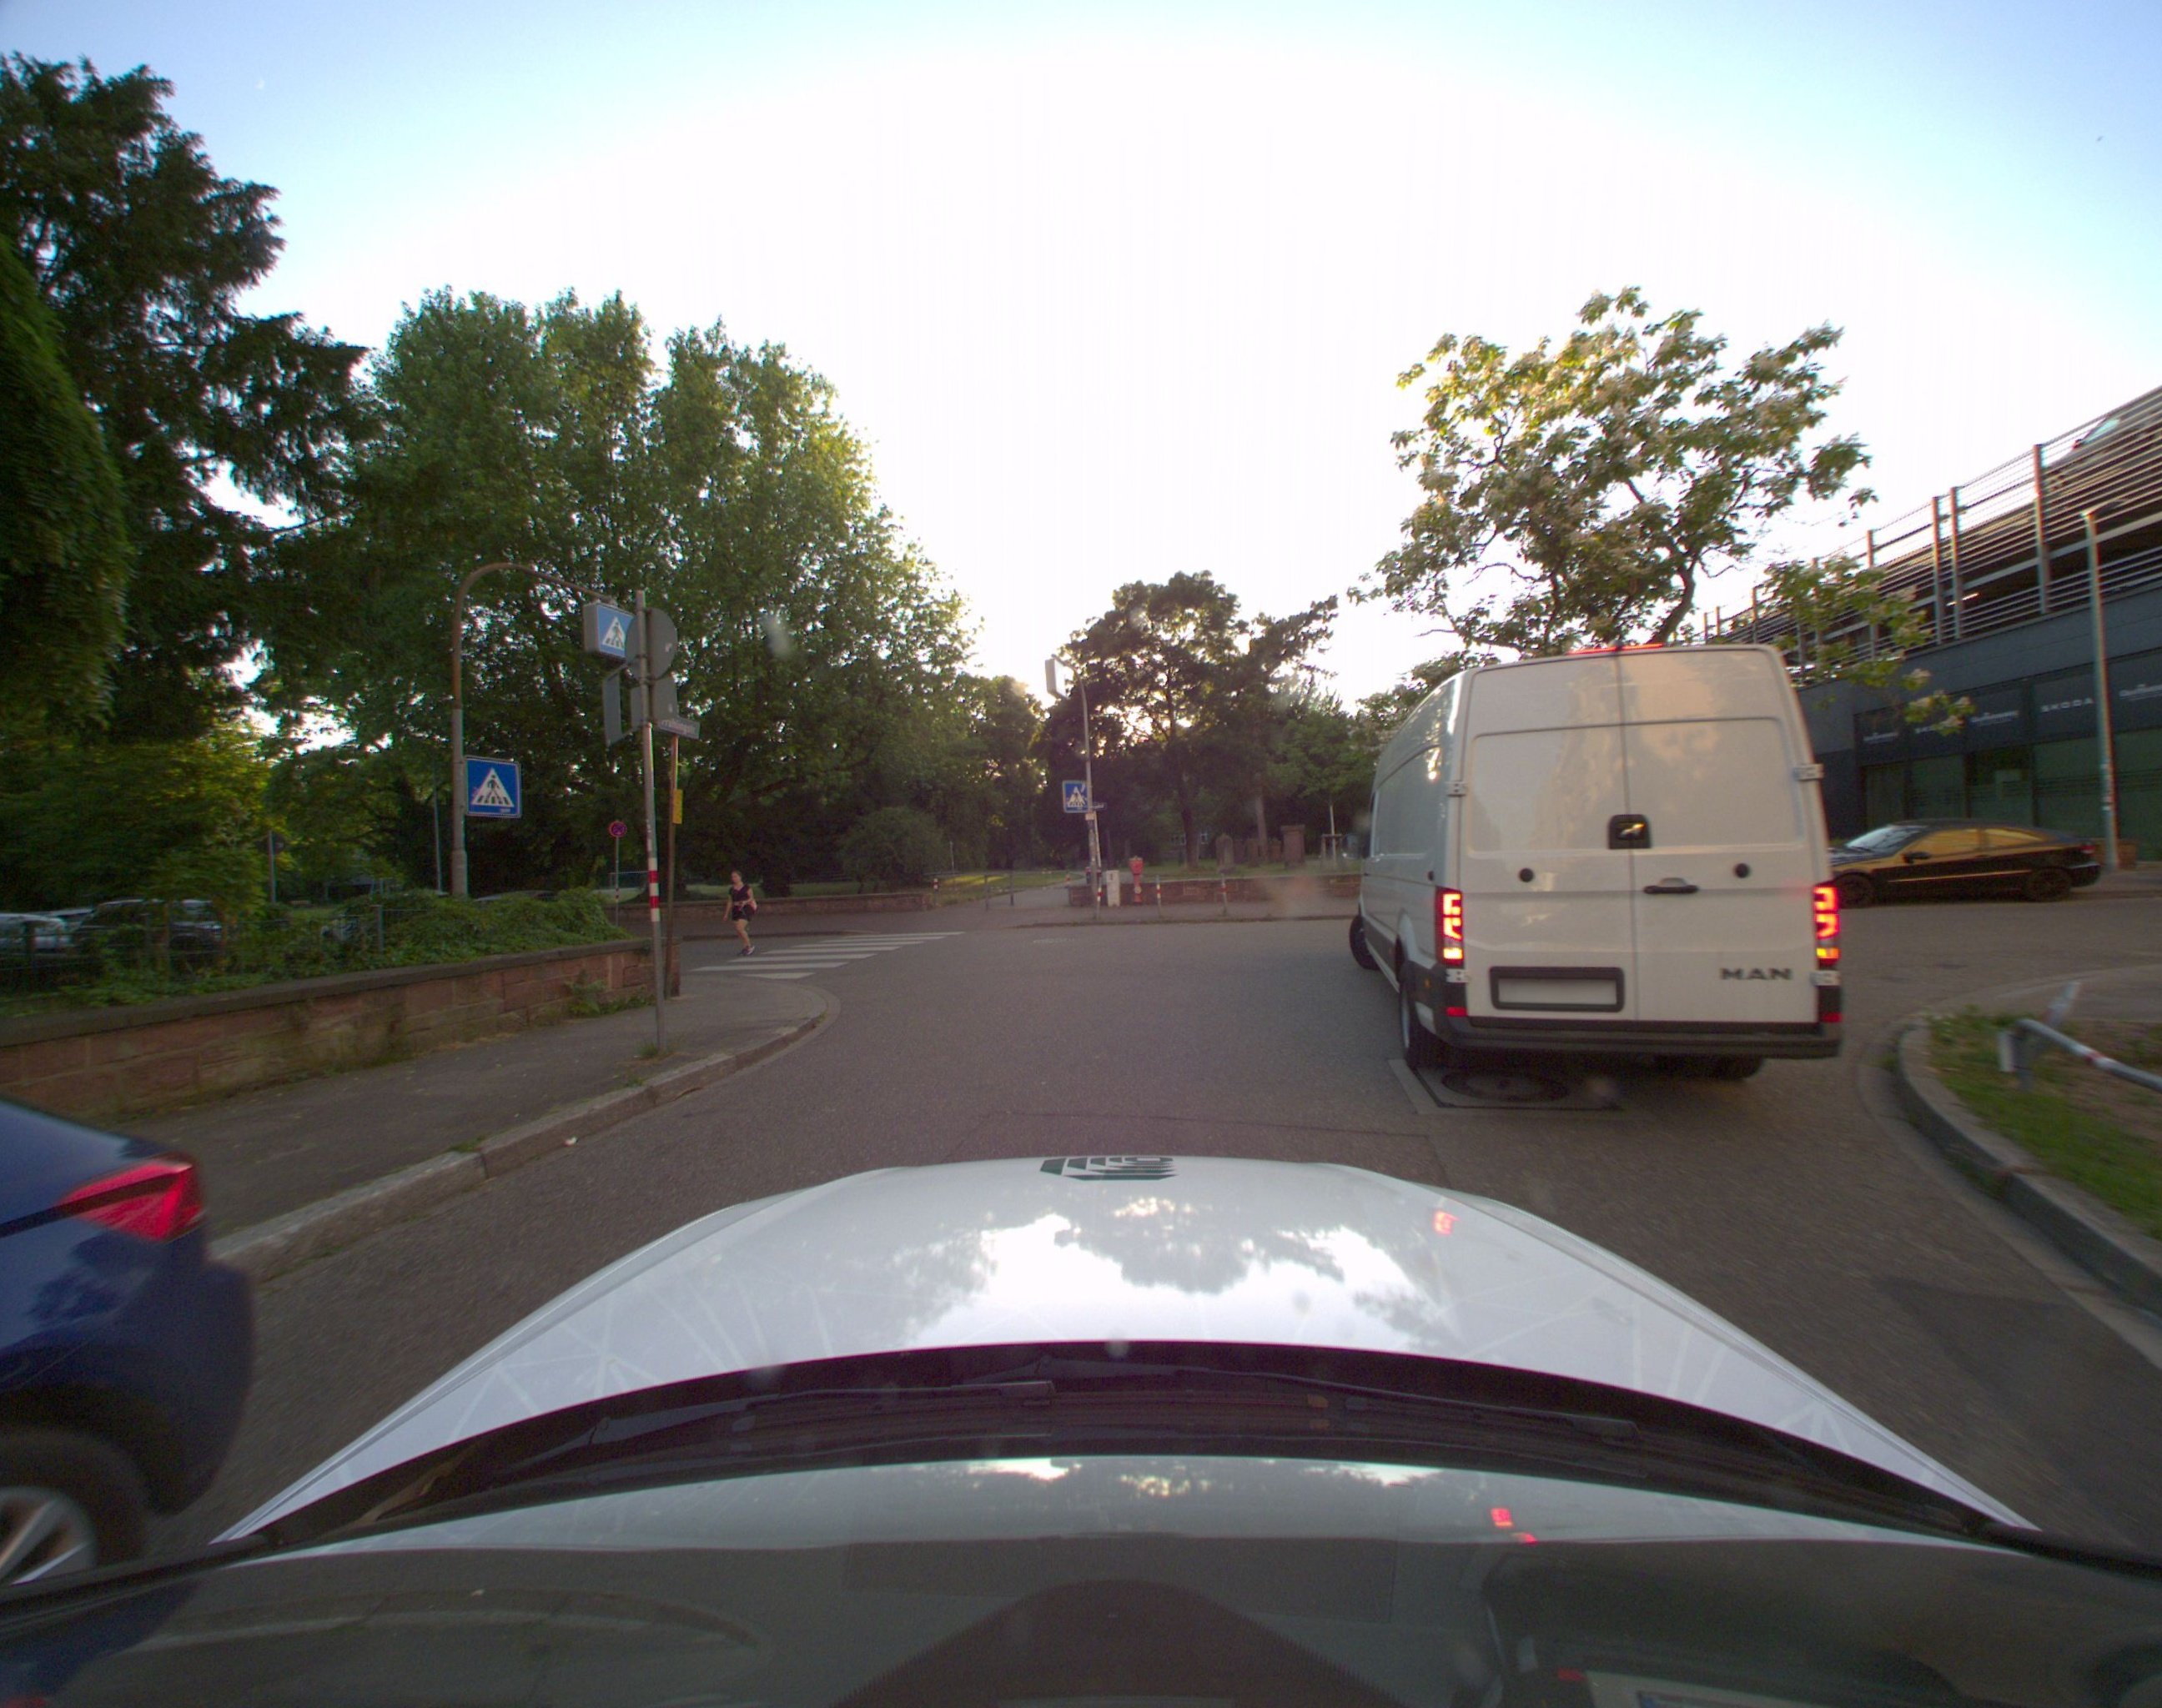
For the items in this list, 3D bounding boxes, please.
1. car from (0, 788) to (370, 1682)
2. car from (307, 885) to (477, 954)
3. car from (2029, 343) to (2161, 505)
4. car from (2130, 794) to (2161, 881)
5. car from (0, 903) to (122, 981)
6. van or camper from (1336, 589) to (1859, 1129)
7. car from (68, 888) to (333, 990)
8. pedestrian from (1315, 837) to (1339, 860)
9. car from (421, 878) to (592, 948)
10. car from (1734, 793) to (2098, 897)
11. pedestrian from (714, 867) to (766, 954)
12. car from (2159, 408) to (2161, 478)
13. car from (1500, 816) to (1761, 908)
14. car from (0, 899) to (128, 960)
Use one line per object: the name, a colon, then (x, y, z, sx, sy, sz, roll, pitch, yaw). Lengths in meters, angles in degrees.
car: (-2.989, 0.735, 0.296, 1.723, 1.567, 3.800, -4, 0, 9)
car: (-20.530, 1.941, 24.333, 3.840, 1.562, 1.832, -4, 6, 15)
car: (23.892, -9.675, 17.990, 1.978, 2.013, 4.018, -2, 0, 17)
car: (20.462, -0.406, 13.225, 3.808, 1.503, 1.831, -4, 0, 16)
car: (-23.531, 1.950, 17.651, 4.198, 1.545, 1.829, -4, -4, 14)
van or camper: (3.544, 0.041, 7.291, 1.979, 2.618, 6.427, -2, 0, 14)
car: (-17.907, 1.710, 16.629, 4.198, 1.799, 1.829, -4, -4, 14)
pedestrian: (16.252, -0.360, 53.831, 1.319, 1.444, 1.049, -3, 0, 11)
car: (-16.053, 1.643, 22.811, 3.821, 1.491, 1.833, -3, 6, 18)
car: (15.017, -0.126, 14.965, 4.260, 1.503, 1.831, -4, 0, 16)
pedestrian: (-6.720, 1.099, 16.071, 0.643, 1.648, 0.675, -1, 0, 7)
car: (26.387, -9.734, 17.433, 1.978, 2.013, 4.018, -2, 0, 17)
car: (10.758, 0.154, 16.259, 3.831, 1.574, 1.964, -2, 0, 10)
car: (-35.364, 2.590, 27.918, 3.840, 1.603, 1.832, -4, 5, 15)
